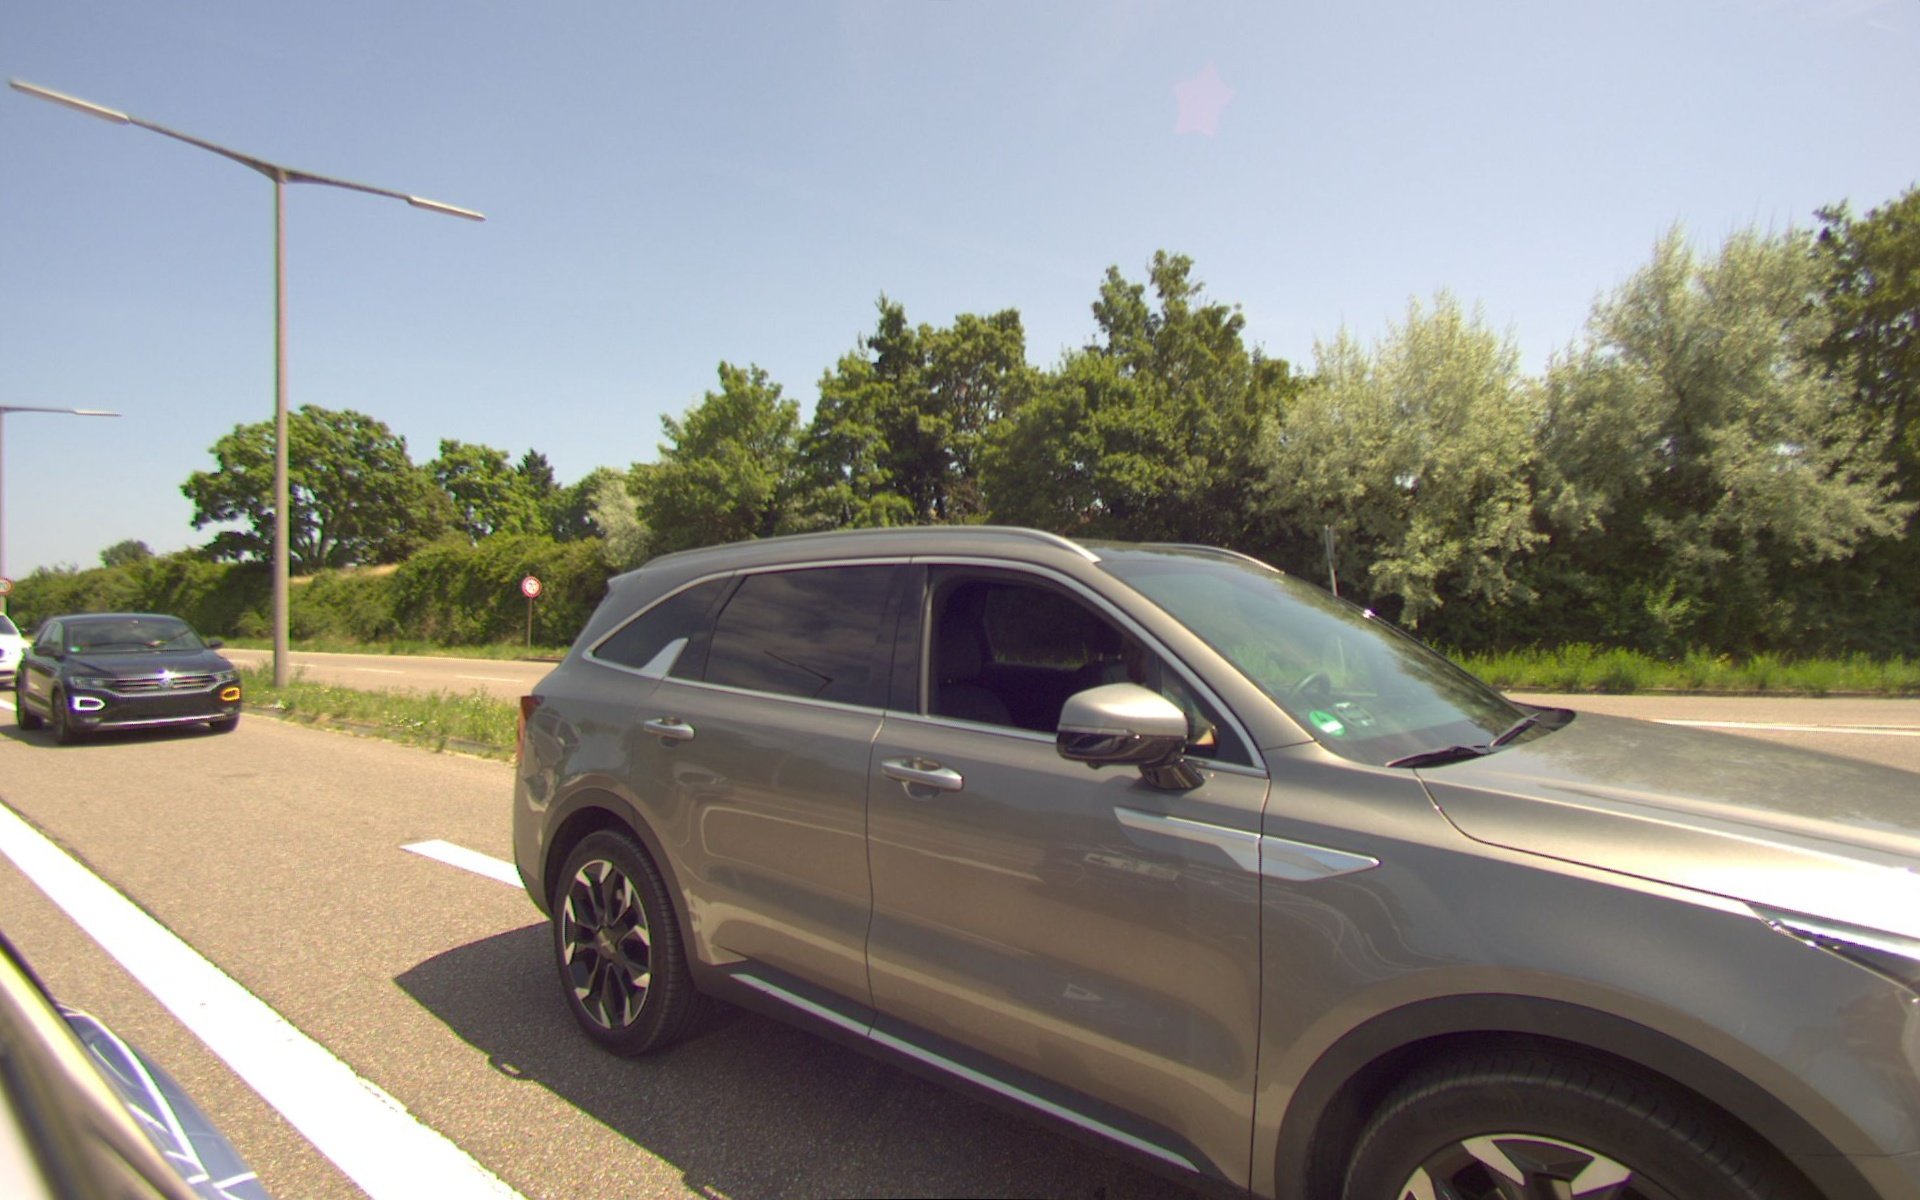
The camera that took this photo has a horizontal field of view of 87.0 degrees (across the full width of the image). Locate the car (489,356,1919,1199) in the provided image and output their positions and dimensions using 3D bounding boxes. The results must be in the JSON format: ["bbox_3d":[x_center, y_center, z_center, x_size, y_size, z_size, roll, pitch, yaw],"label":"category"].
[{"bbox_3d":[0.510,0.573,3.032,4.528,1.681,1.762,-2,-2,40],"label":"car"}]

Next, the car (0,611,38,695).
[{"bbox_3d":[-21.092,1.082,21.332,3.998,1.684,1.897,-1,-1,40],"label":"car"}]

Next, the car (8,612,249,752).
[{"bbox_3d":[-10.857,0.953,13.119,3.997,1.511,1.731,-2,-1,40],"label":"car"}]
